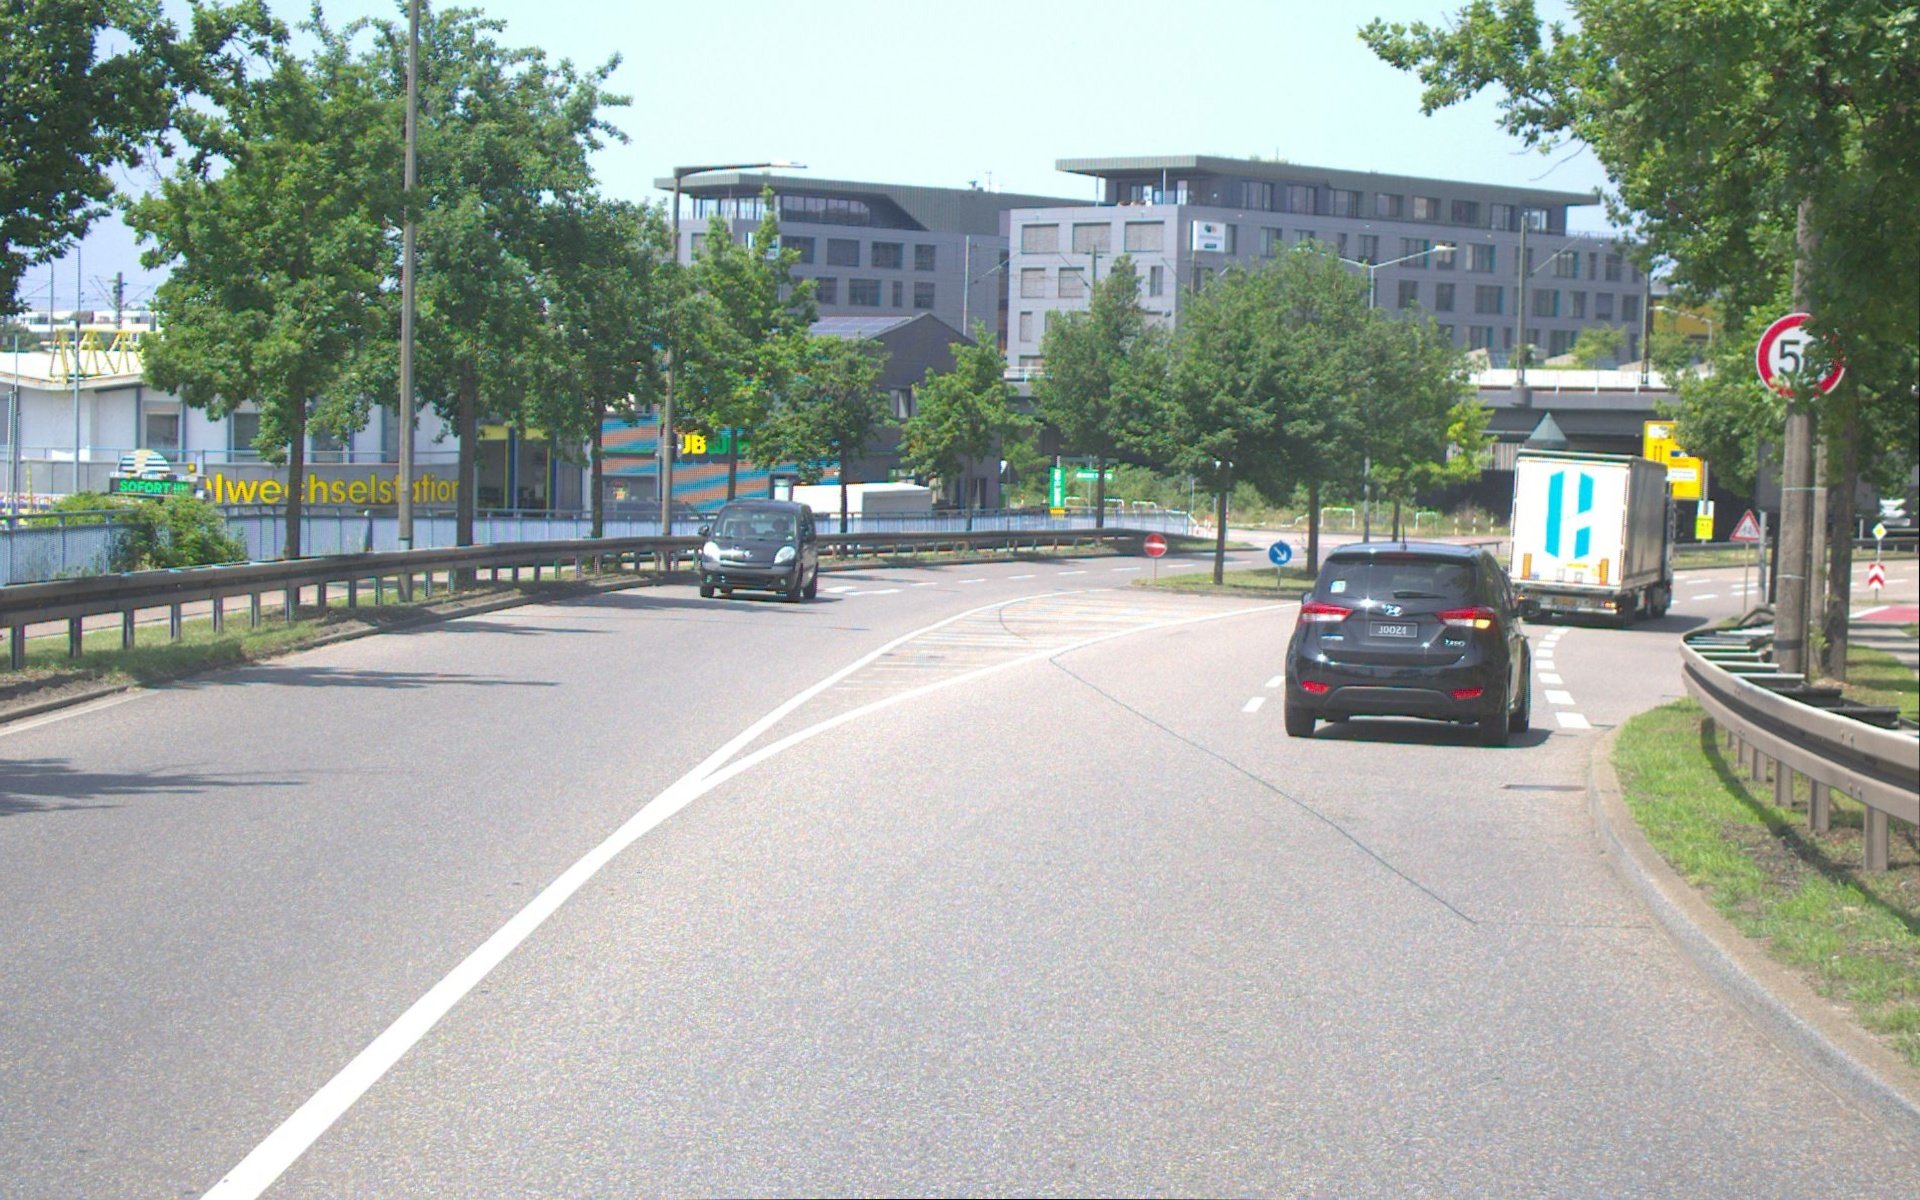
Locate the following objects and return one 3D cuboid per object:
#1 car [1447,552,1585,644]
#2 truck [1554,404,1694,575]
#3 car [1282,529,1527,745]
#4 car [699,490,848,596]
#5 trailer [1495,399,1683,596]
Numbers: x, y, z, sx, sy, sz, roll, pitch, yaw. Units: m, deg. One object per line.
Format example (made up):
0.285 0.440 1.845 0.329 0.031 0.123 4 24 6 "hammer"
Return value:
10.549 -0.072 65.007 1.958 1.628 4.276 1 1 17 "car"
17.886 -3.014 92.327 3.078 4.353 6.075 2 3 16 "truck"
3.760 0.242 28.594 1.768 1.593 4.076 3 2 10 "car"
-3.305 -1.033 61.807 1.807 1.753 4.251 3 1 8 "car"
15.650 -2.641 84.571 3.080 4.353 14.765 2 3 16 "trailer"
